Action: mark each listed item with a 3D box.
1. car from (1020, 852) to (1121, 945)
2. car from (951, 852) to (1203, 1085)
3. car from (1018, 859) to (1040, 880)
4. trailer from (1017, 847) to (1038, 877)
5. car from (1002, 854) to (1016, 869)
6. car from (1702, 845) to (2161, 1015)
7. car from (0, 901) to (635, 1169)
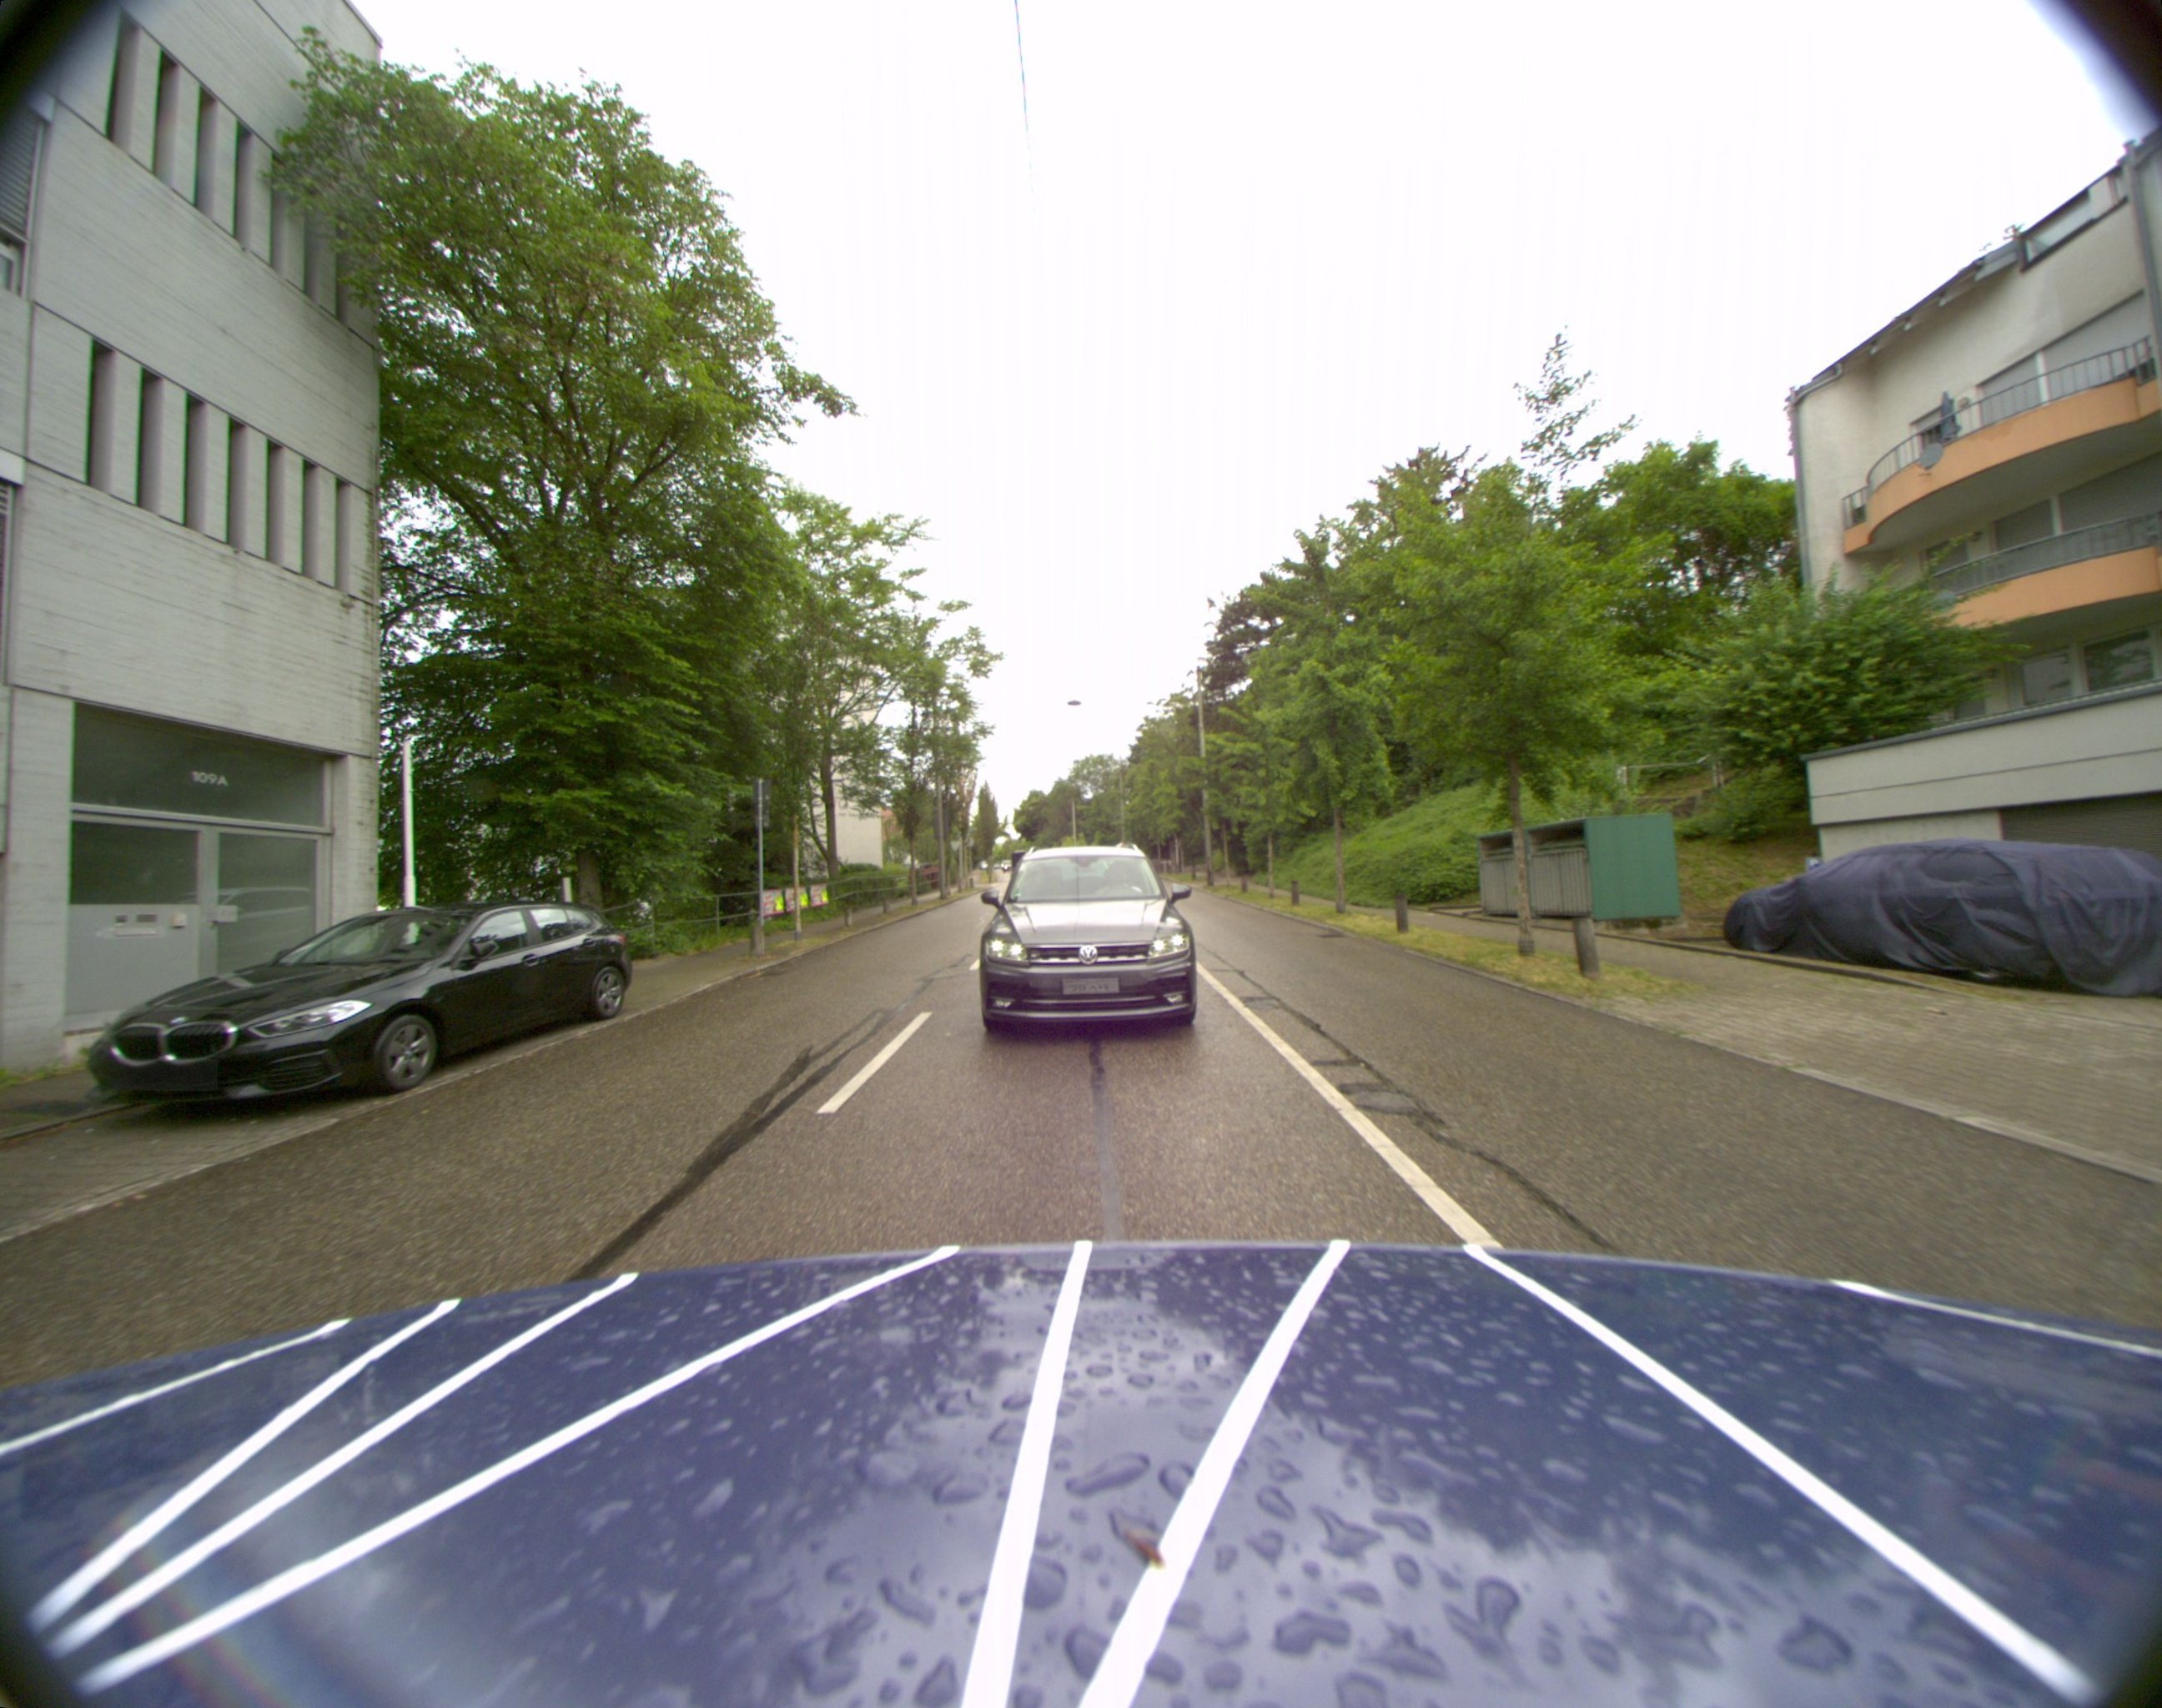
[{"bbox_3d":[-0.172,0.818,16.151,1.786,1.632,4.200,-2,0,1],"label":"car"},{"bbox_3d":[-0.008,0.842,7.694,1.786,1.632,4.200,-2,0,1],"label":"car"},{"bbox_3d":[-4.575,1.313,66.222,1.737,1.610,3.473,-2,1,-6],"label":"car"},{"bbox_3d":[-4.892,0.707,69.454,1.771,2.610,3.031,-2,1,-5],"label":"trailer"},{"bbox_3d":[-10.387,1.034,109.841,1.999,2.002,3.997,-2,1,-5],"label":"car"},{"bbox_3d":[9.701,0.691,8.738,1.856,1.483,3.865,2,0,-1],"label":"car"},{"bbox_3d":[-6.263,1.300,6.995,1.843,1.436,4.155,-1,0,0],"label":"car"}]
